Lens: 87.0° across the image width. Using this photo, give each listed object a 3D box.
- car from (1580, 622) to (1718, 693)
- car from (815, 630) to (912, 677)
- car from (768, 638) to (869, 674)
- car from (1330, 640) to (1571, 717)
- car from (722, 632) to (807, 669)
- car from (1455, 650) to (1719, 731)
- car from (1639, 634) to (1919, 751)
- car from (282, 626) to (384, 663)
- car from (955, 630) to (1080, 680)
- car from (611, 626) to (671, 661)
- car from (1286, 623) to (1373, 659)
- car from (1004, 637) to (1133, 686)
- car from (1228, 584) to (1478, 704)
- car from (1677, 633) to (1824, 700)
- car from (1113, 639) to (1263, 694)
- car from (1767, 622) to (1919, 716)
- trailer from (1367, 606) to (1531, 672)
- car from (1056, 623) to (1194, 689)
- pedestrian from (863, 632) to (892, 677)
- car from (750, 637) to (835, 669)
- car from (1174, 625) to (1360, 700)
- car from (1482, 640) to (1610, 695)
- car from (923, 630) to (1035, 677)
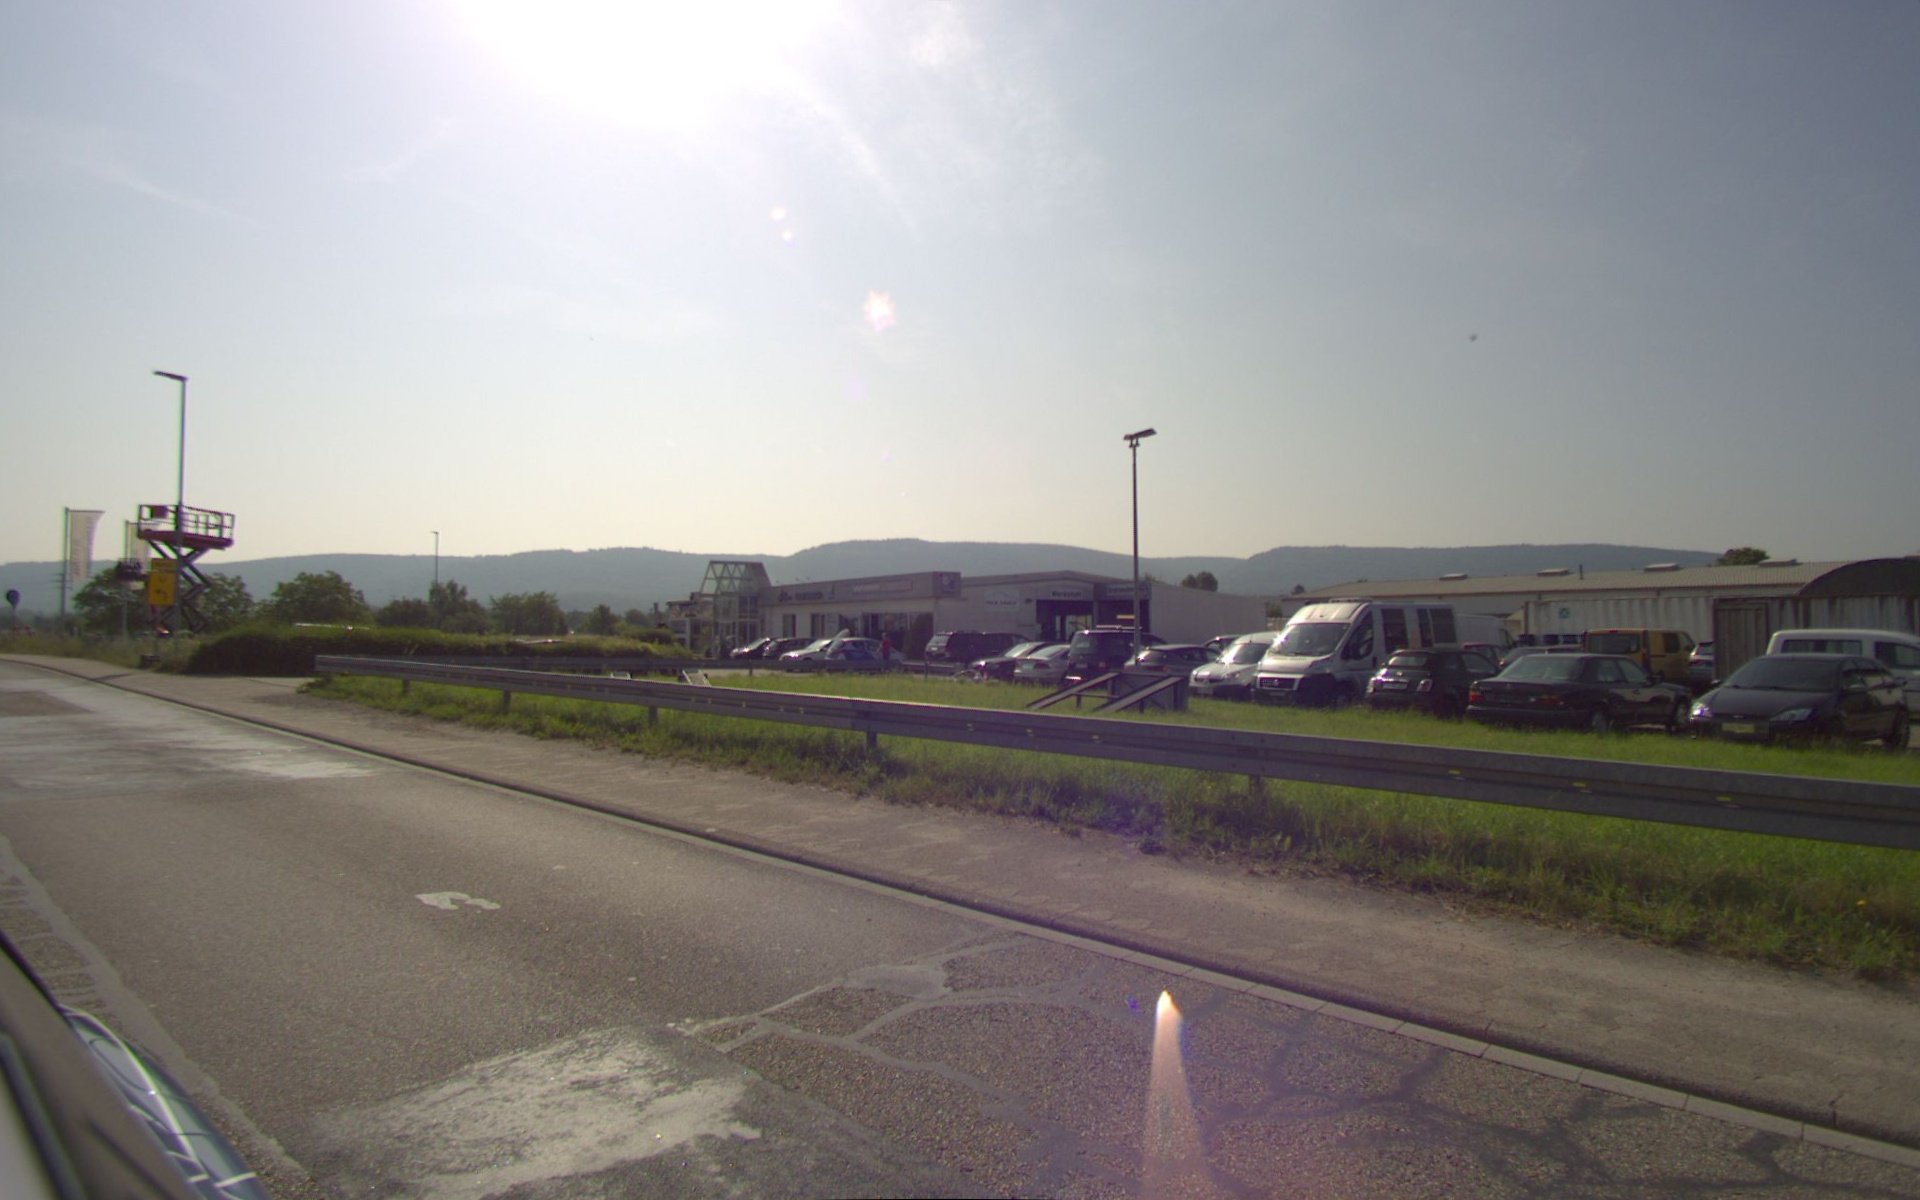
[{"bbox_3d":[20.942,1.746,30.734,3.932,2.029,2.006,3,-3,-31],"label":"car"},{"bbox_3d":[-4.159,2.277,43.926,3.711,1.809,1.938,-1,0,-36],"label":"car"},{"bbox_3d":[-6.356,2.536,45.750,4.089,1.547,1.887,3,-3,-36],"label":"car"},{"bbox_3d":[9.682,1.519,19.900,4.684,1.364,1.927,2,-4,-30],"label":"car"},{"bbox_3d":[-10.371,2.706,53.738,4.026,1.886,1.822,2,-3,-26],"label":"car"},{"bbox_3d":[10.783,1.502,17.352,4.616,1.228,1.836,2,-4,-30],"label":"car"},{"bbox_3d":[12.888,1.361,15.510,5.055,1.546,2.032,2,-4,-30],"label":"car"},{"bbox_3d":[-36.157,2.546,58.419,4.760,2.029,1.995,1,-3,7],"label":"car"},{"bbox_3d":[1.931,1.803,33.194,3.935,1.533,1.688,3,-3,-37],"label":"car"},{"bbox_3d":[-19.159,2.611,60.704,1.968,2.029,4.163,3,-3,-40],"label":"car"},{"bbox_3d":[16.019,1.810,43.869,3.605,1.475,1.768,3,-3,-34],"label":"car"},{"bbox_3d":[3.350,1.883,31.048,3.695,1.399,1.734,3,-3,-35],"label":"car"},{"bbox_3d":[8.744,1.029,22.463,5.313,2.391,2.301,2,-4,-30],"label":"car"},{"bbox_3d":[22.376,1.873,28.627,3.932,1.763,2.006,3,-3,-31],"label":"car"},{"bbox_3d":[6.007,1.724,26.527,3.695,1.318,1.811,3,-3,-34],"label":"car"},{"bbox_3d":[18.972,1.350,19.825,1.966,1.689,4.541,-1,0,-32],"label":"car"},{"bbox_3d":[17.172,1.407,35.511,5.667,2.140,2.224,2,-3,-28],"label":"trailer"},{"bbox_3d":[4.729,1.606,28.851,3.695,1.764,1.753,3,-3,-35],"label":"car"},{"bbox_3d":[-3.341,2.205,41.147,0.982,1.767,0.837,0,0,11],"label":"pedestrian"},{"bbox_3d":[-8.028,2.558,48.587,3.605,1.475,1.768,3,-3,-34],"label":"car"},{"bbox_3d":[7.468,1.516,24.557,4.328,1.676,1.812,2,-4,-30],"label":"car"},{"bbox_3d":[16.811,1.908,29.012,3.605,1.475,1.768,3,-3,-34],"label":"car"},{"bbox_3d":[0.691,1.860,35.241,3.627,1.533,1.688,3,-3,-37],"label":"car"}]
